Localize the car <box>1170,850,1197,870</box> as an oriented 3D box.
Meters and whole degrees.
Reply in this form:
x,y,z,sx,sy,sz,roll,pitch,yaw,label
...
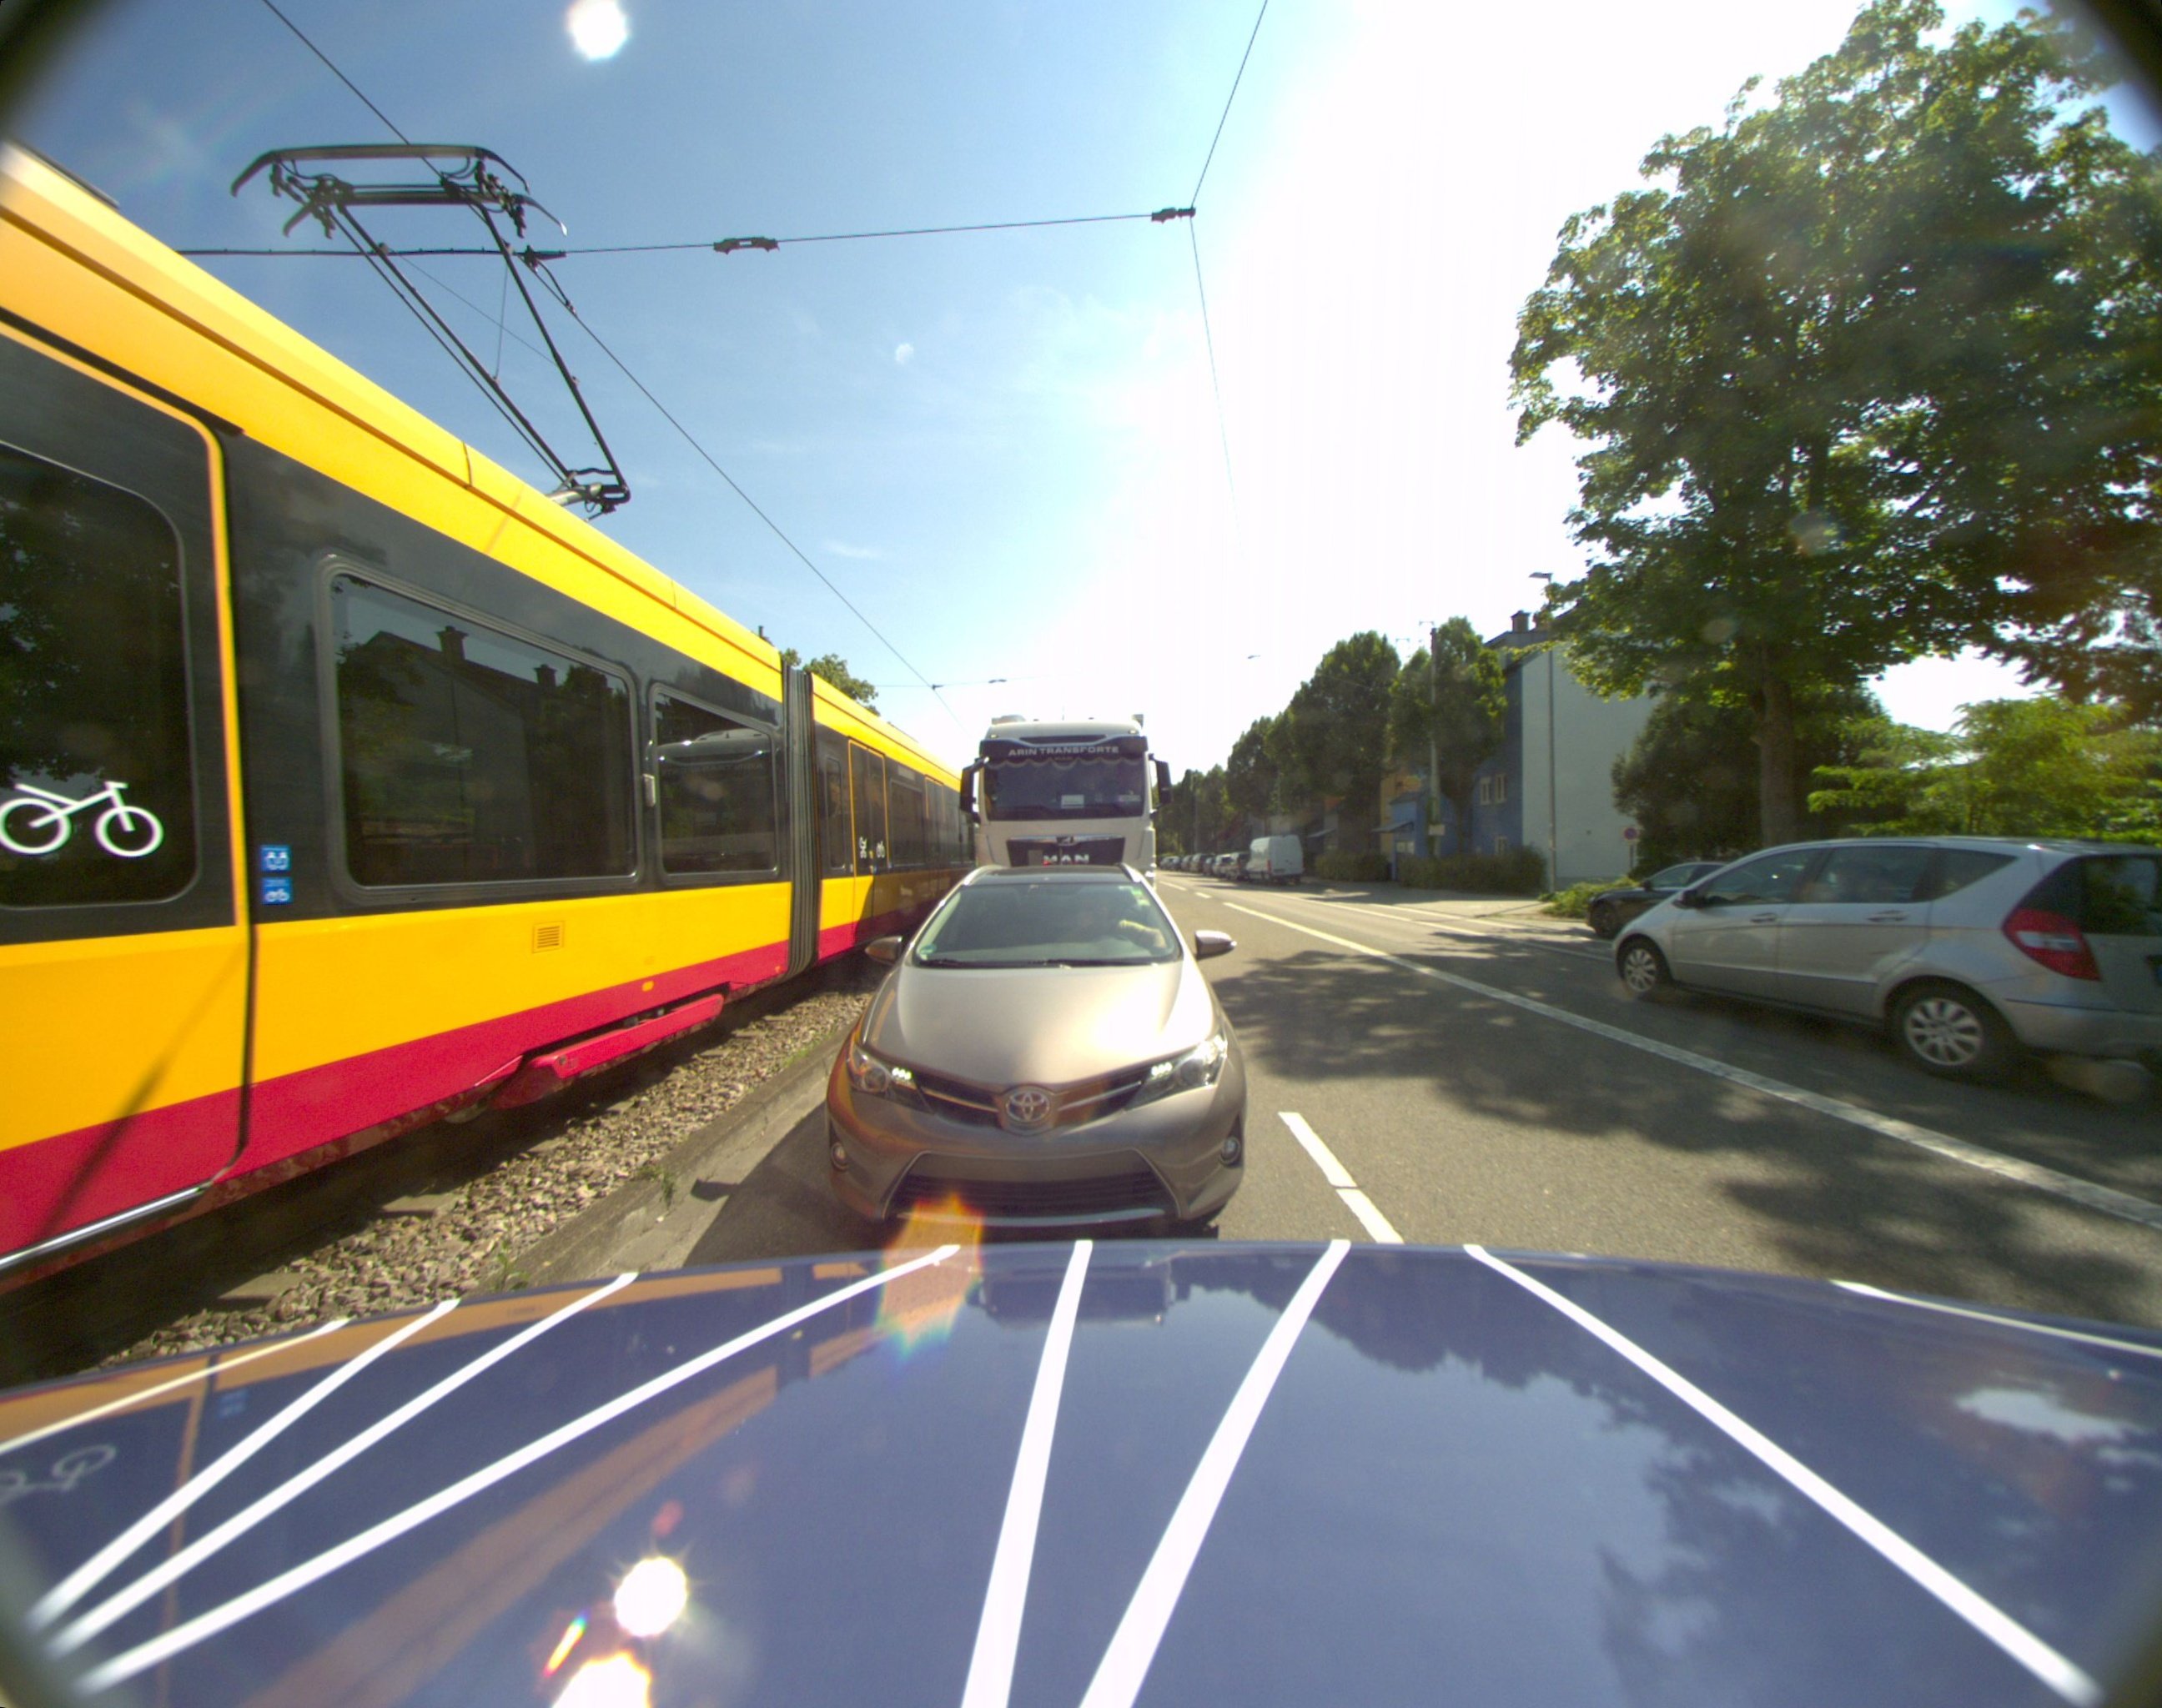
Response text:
x,y,z,sx,sy,sz,roll,pitch,yaw,label
10.610,0.606,79.176,1.998,1.795,4.769,-6,0,0,car

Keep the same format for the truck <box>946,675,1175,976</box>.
x,y,z,sx,sy,sz,roll,pitch,yaw,label
-0.164,-0.387,17.222,2.935,3.856,14.912,0,0,1,truck

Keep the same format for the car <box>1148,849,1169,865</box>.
x,y,z,sx,sy,sz,roll,pitch,yaw,label
9.859,0.369,96.837,1.998,1.795,4.769,-6,0,0,car

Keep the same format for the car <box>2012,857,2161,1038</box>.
x,y,z,sx,sy,sz,roll,pitch,yaw,label
10.607,0.841,5.579,1.868,1.562,4.621,-2,0,1,car

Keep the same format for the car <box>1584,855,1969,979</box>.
x,y,z,sx,sy,sz,roll,pitch,yaw,label
10.557,0.824,12.169,1.868,1.562,4.621,-1,0,-2,car

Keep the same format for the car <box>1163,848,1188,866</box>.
x,y,z,sx,sy,sz,roll,pitch,yaw,label
10.637,0.296,85.920,1.998,1.795,4.769,-6,0,0,car

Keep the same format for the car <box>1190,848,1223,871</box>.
x,y,z,sx,sy,sz,roll,pitch,yaw,label
11.126,0.501,67.682,1.998,1.795,4.769,-6,0,0,car

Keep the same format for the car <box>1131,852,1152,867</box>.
x,y,z,sx,sy,sz,roll,pitch,yaw,label
8.333,0.758,105.580,1.999,1.795,5.111,-6,0,-4,car

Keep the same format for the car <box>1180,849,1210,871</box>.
x,y,z,sx,sy,sz,roll,pitch,yaw,label
10.975,0.542,73.386,1.998,1.795,4.769,-6,0,0,car

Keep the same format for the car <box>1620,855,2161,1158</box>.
x,y,z,sx,sy,sz,roll,pitch,yaw,label
6.180,0.807,5.713,1.680,1.544,3.579,1,0,0,car

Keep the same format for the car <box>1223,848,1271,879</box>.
x,y,z,sx,sy,sz,roll,pitch,yaw,label
11.159,0.619,51.381,1.998,1.795,4.769,-6,0,0,car

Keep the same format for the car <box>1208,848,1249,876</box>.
x,y,z,sx,sy,sz,roll,pitch,yaw,label
11.105,0.559,57.388,1.998,1.795,4.769,-6,0,0,car

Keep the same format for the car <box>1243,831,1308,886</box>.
x,y,z,sx,sy,sz,roll,pitch,yaw,label
10.926,0.238,43.159,1.998,2.678,6.214,-6,0,2,car

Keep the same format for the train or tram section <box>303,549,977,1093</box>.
x,y,z,sx,sy,sz,roll,pitch,yaw,label
-3.951,-0.239,11.556,2.878,3.833,12.391,0,0,1,train or tram section

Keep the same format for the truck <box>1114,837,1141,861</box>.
x,y,z,sx,sy,sz,roll,pitch,yaw,label
7.047,-0.718,116.118,2.704,3.263,6.724,-6,0,-5,truck

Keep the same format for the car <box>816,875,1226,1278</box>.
x,y,z,sx,sy,sz,roll,pitch,yaw,label
-0.204,0.913,4.918,1.573,1.422,4.000,0,0,1,car

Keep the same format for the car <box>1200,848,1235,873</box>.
x,y,z,sx,sy,sz,roll,pitch,yaw,label
11.250,0.520,62.871,1.998,1.795,4.256,-6,0,0,car
